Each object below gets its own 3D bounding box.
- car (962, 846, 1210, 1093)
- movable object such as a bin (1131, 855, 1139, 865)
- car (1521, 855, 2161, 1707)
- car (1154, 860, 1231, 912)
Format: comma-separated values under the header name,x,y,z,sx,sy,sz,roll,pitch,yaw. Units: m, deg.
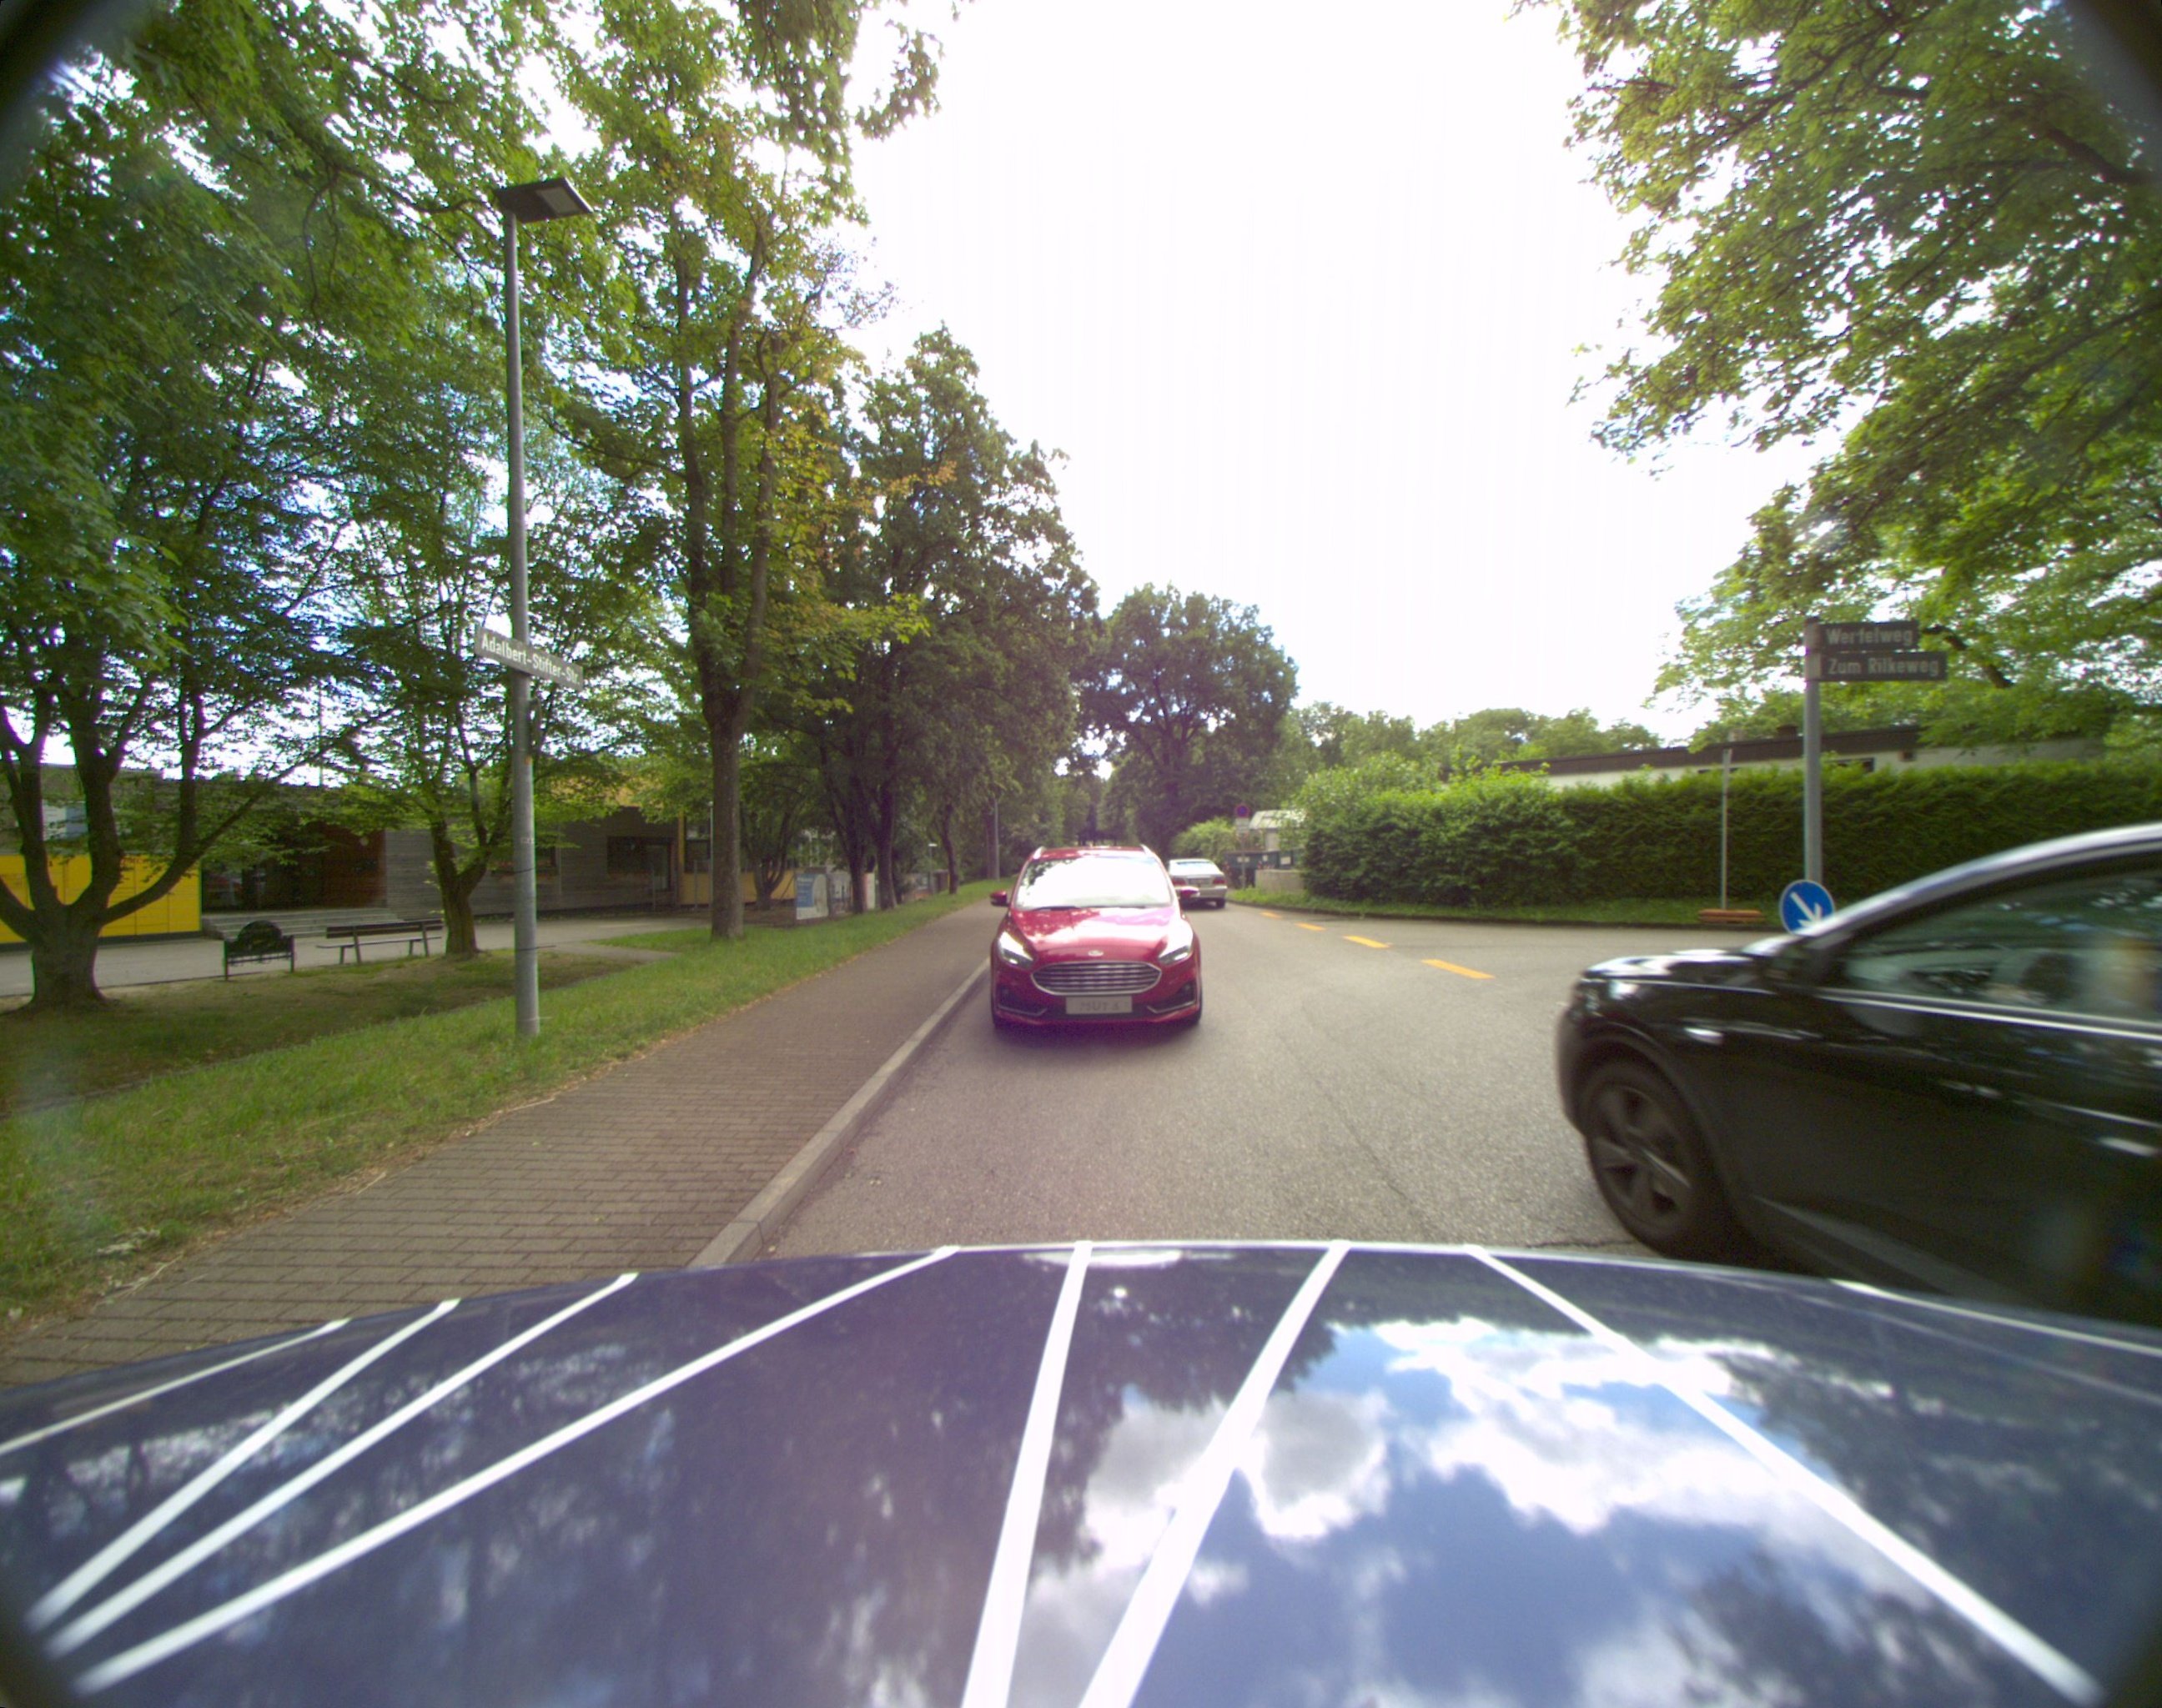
name,x,y,z,sx,sy,sz,roll,pitch,yaw
car,0.221,0.826,7.624,1.816,1.718,4.001,1,2,6
movable object such as a bin,5.322,0.597,75.429,0.649,1.007,0.632,1,2,16
car,2.866,0.821,1.346,1.807,1.582,4.297,-2,0,3
car,3.155,0.870,22.189,1.785,1.299,4.297,-2,0,3
